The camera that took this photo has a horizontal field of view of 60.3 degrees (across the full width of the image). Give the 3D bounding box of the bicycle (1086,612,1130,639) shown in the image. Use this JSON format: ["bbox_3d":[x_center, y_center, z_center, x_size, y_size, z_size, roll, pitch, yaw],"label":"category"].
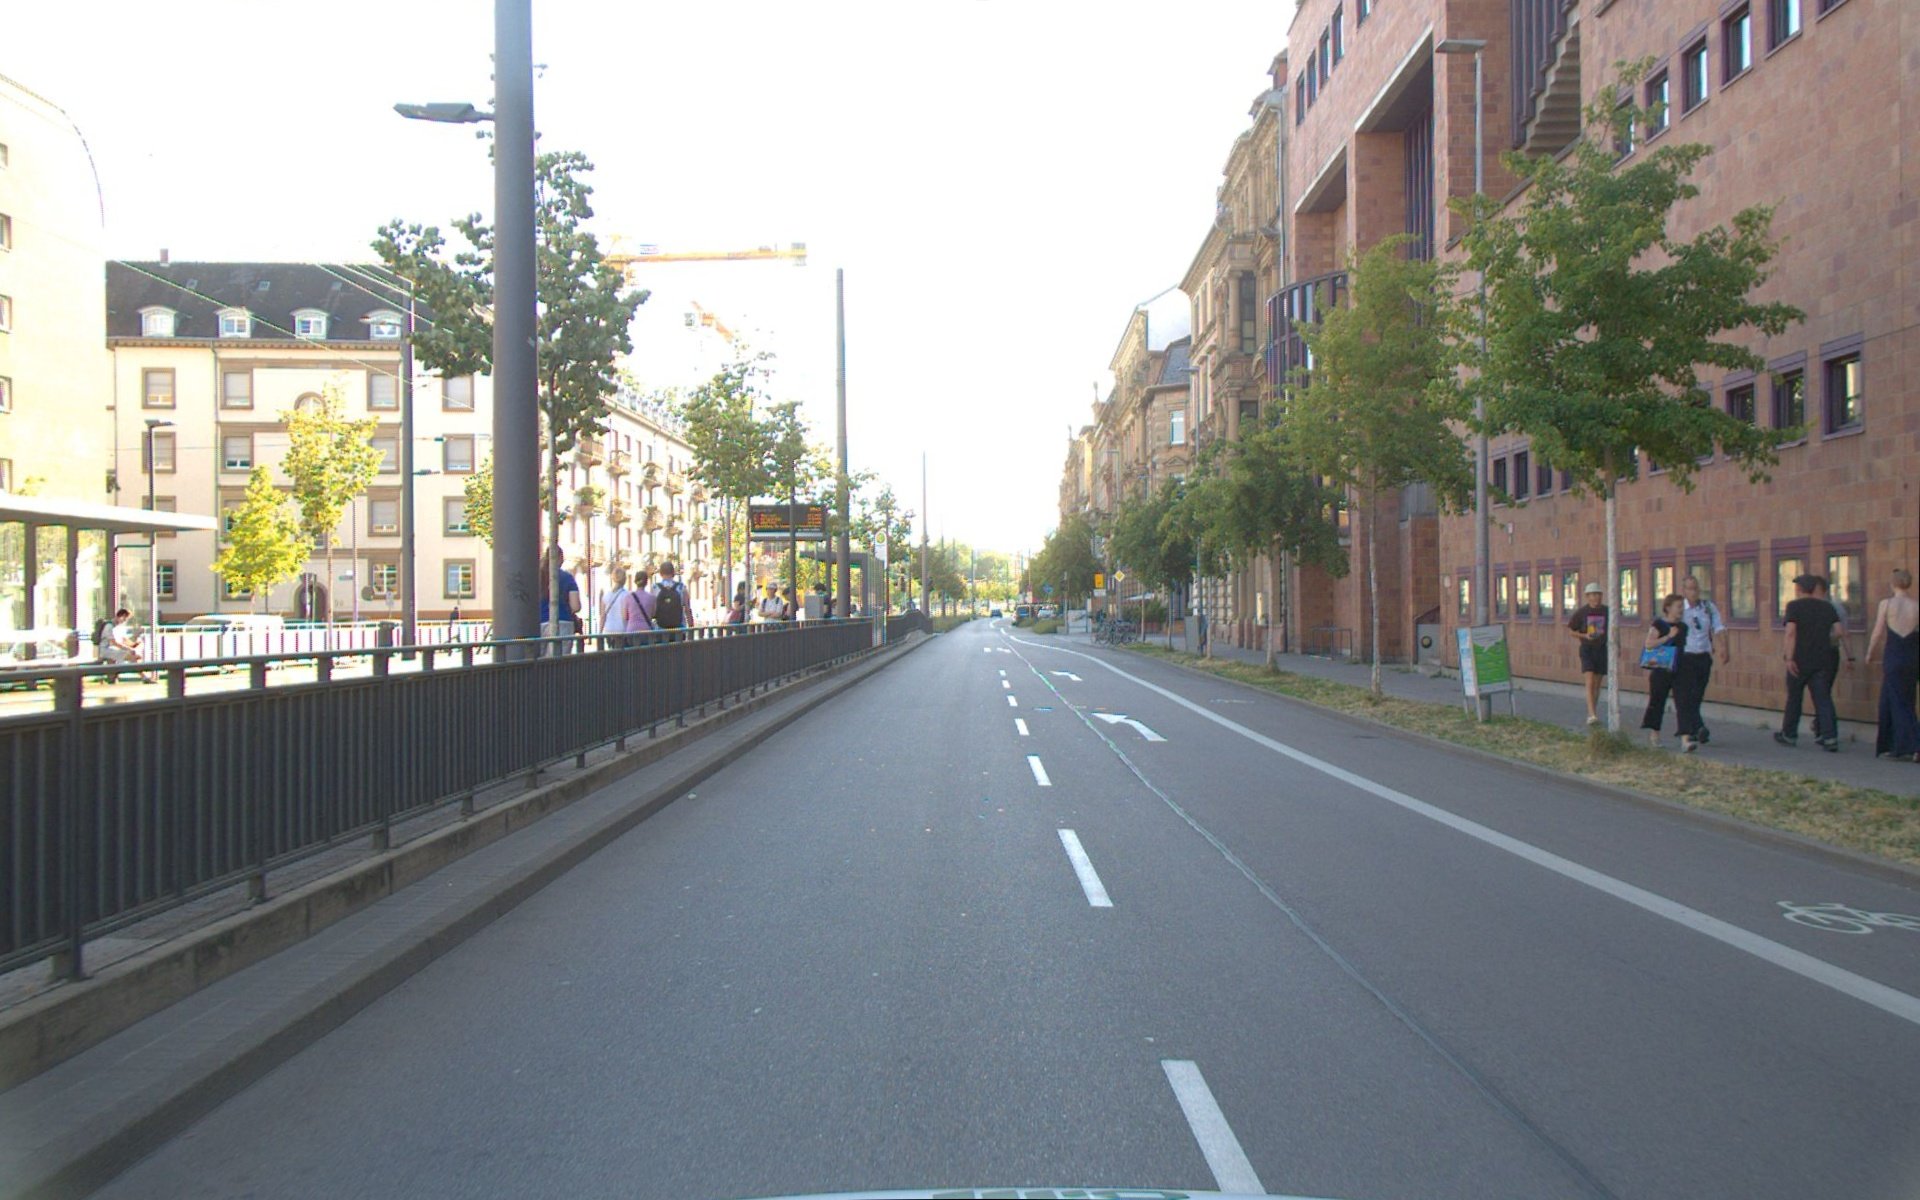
[{"bbox_3d":[6.593,1.140,73.715,1.790,1.083,0.663,-4,1,-4],"label":"bicycle"}]

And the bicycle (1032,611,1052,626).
[{"bbox_3d":[6.529,1.460,131.646,1.546,1.066,0.489,-2,0,-7],"label":"bicycle"}]

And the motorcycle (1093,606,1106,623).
[{"bbox_3d":[11.322,1.180,134.634,0.778,1.331,2.852,-3,1,1],"label":"motorcycle"}]

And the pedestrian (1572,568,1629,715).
[{"bbox_3d":[7.843,0.505,20.266,0.525,1.787,0.422,-1,-1,3],"label":"pedestrian"}]

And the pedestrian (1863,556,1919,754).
[{"bbox_3d":[8.772,0.500,15.300,0.525,1.787,0.696,-1,-1,11],"label":"pedestrian"}]

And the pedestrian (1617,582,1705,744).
[{"bbox_3d":[7.262,0.637,17.148,0.507,1.633,0.702,-1,-1,-12],"label":"pedestrian"}]

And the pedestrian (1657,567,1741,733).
[{"bbox_3d":[7.920,0.525,17.740,0.560,1.743,0.640,-1,-1,-5],"label":"pedestrian"}]

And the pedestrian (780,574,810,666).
[{"bbox_3d":[-3.182,0.384,31.860,0.494,1.762,0.651,-1,-1,0],"label":"pedestrian"}]

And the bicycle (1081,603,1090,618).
[{"bbox_3d":[12.334,1.038,162.752,0.647,1.427,2.352,-1,1,0],"label":"bicycle"}]

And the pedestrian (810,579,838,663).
[{"bbox_3d":[-2.795,0.423,33.923,0.494,1.708,0.651,-1,-1,0],"label":"pedestrian"}]

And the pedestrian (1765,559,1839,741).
[{"bbox_3d":[8.402,0.494,16.518,0.525,1.787,0.465,-1,-1,11],"label":"pedestrian"}]

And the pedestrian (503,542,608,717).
[{"bbox_3d":[-4.023,0.288,16.488,0.870,1.701,0.672,-1,-1,-1],"label":"pedestrian"}]

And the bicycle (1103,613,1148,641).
[{"bbox_3d":[7.086,1.164,70.850,1.790,1.083,0.663,-4,1,-4],"label":"bicycle"}]

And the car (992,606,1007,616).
[{"bbox_3d":[6.065,1.731,254.712,1.759,1.490,4.003,-1,0,8],"label":"car"}]

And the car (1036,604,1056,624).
[{"bbox_3d":[7.309,1.205,139.729,1.603,1.512,4.214,-3,1,3],"label":"car"}]

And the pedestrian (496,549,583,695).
[{"bbox_3d":[-4.446,0.231,17.528,0.668,1.509,0.829,0,-1,4],"label":"pedestrian"}]

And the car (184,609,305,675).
[{"bbox_3d":[-24.313,1.389,56.377,1.951,2.049,4.150,-1,1,7],"label":"car"}]

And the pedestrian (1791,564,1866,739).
[{"bbox_3d":[9.000,0.525,17.154,0.525,1.787,0.422,-1,-1,-1],"label":"pedestrian"}]

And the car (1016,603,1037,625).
[{"bbox_3d":[6.276,1.303,155.996,1.846,1.971,4.475,-1,1,2],"label":"car"}]

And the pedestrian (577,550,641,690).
[{"bbox_3d":[-4.364,0.248,20.598,0.643,1.701,0.672,-1,-1,-1],"label":"pedestrian"}]

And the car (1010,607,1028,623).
[{"bbox_3d":[6.044,1.526,169.665,1.811,1.483,4.158,-1,1,2],"label":"car"}]

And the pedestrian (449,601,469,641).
[{"bbox_3d":[-25.720,1.079,84.939,0.784,2.049,0.625,-1,0,1],"label":"pedestrian"}]

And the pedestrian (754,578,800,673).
[{"bbox_3d":[-3.107,0.432,28.145,0.659,1.589,0.906,-1,-1,0],"label":"pedestrian"}]

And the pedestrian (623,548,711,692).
[{"bbox_3d":[-3.590,0.241,20.343,0.870,1.701,1.095,-1,-1,-1],"label":"pedestrian"}]

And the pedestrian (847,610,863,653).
[{"bbox_3d":[-2.977,0.882,46.974,0.399,1.211,0.428,0,-1,-12],"label":"pedestrian"}]

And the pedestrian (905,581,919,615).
[{"bbox_3d":[-2.316,-0.096,80.402,0.641,1.672,0.867,0,-2,1],"label":"pedestrian"}]

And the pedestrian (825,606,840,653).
[{"bbox_3d":[-3.839,0.890,49.832,0.420,1.410,0.406,0,-1,-11],"label":"pedestrian"}]

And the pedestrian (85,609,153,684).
[{"bbox_3d":[-14.062,0.767,27.665,0.659,1.210,0.906,-1,-1,0],"label":"pedestrian"}]

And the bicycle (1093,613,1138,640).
[{"bbox_3d":[6.787,1.153,72.239,1.790,1.083,0.663,-4,1,-4],"label":"bicycle"}]

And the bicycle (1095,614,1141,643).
[{"bbox_3d":[6.617,1.187,69.483,1.790,1.083,0.663,-4,1,-4],"label":"bicycle"}]

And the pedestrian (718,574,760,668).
[{"bbox_3d":[-4.208,0.405,31.527,0.705,1.762,0.651,-1,-1,0],"label":"pedestrian"}]
